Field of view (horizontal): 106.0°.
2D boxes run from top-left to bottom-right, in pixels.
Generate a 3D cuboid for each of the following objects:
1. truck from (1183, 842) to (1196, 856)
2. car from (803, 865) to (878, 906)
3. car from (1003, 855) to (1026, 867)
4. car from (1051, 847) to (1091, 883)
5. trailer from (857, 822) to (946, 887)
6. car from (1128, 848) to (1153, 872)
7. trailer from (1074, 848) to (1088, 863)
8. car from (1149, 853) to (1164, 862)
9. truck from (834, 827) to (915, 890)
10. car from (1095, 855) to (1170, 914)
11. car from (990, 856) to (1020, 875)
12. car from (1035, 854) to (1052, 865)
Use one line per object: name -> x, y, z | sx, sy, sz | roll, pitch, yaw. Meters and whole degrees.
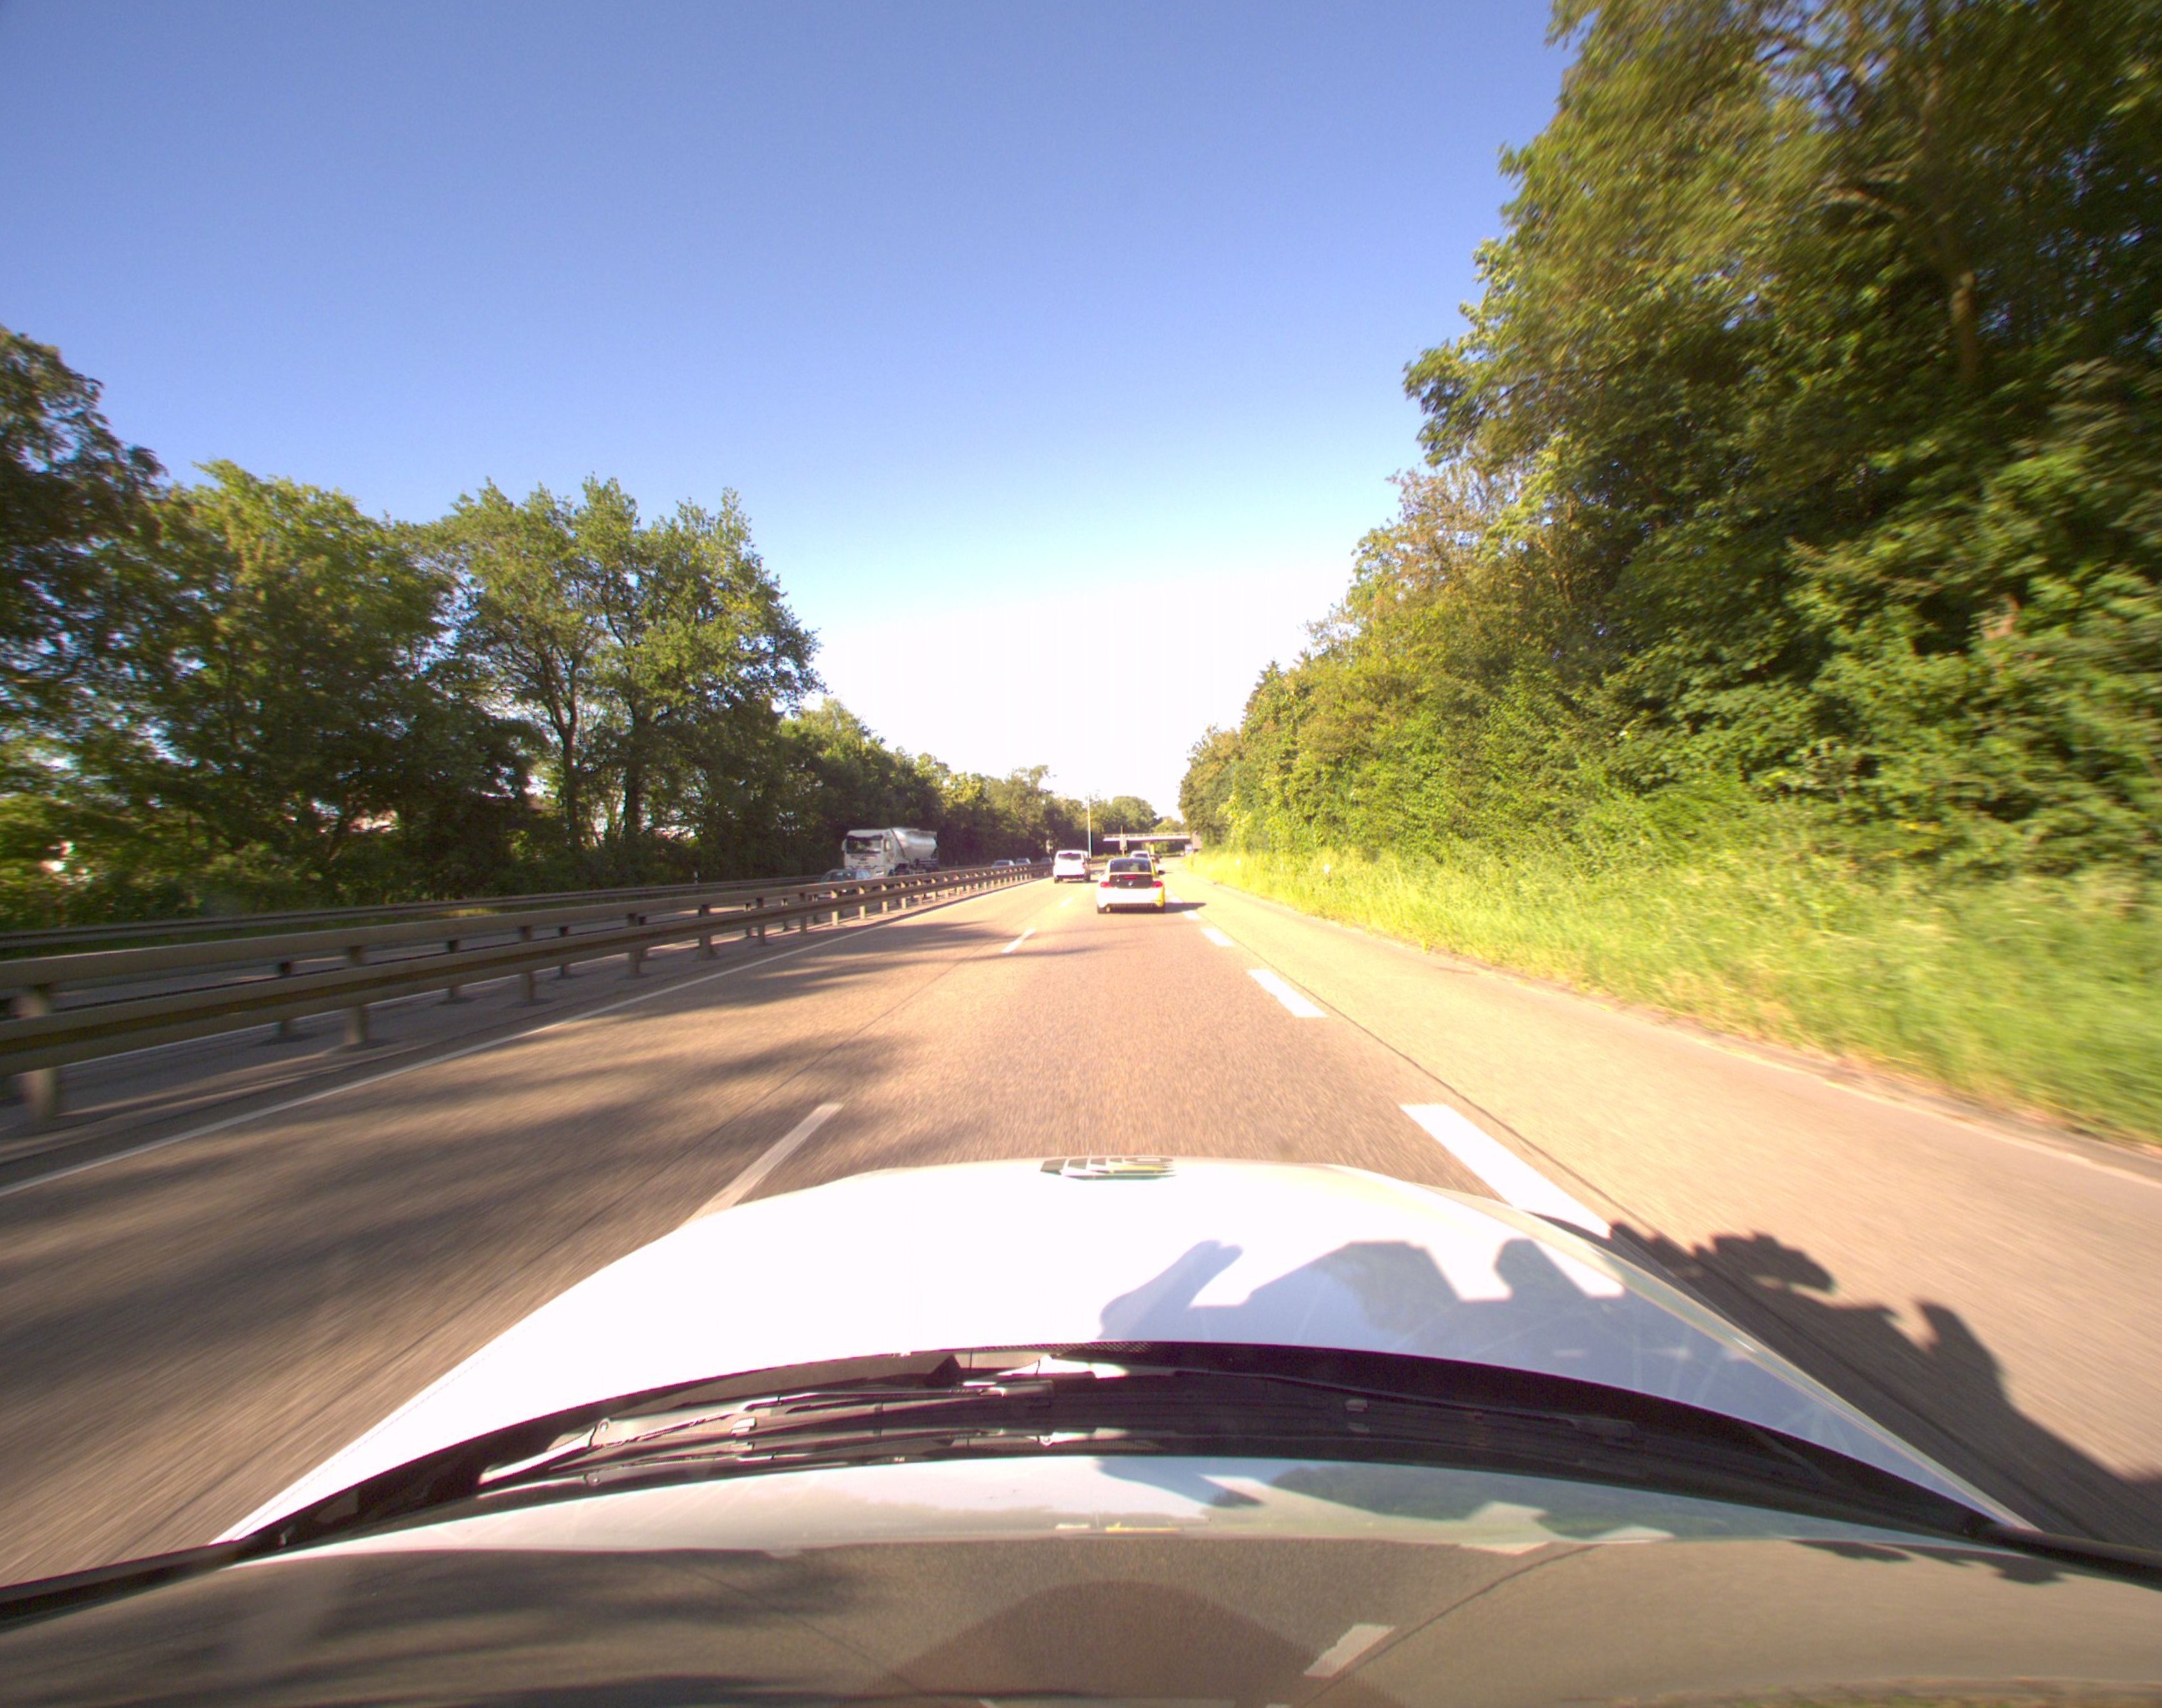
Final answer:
truck -> 34.847, -1.639, 260.686 | 3.473, 4.172, 8.889 | -2, 0, 11
car -> -9.726, 1.243, 33.267 | 1.660, 1.467, 4.094 | -2, 0, 2
car -> -8.151, 0.841, 100.352 | 2.062, 1.467, 4.991 | -1, 0, 4
car -> -0.507, 0.589, 45.659 | 2.078, 1.828, 4.000 | -2, 0, 1
trailer -> -12.404, 0.019, 57.519 | 3.039, 3.997, 10.984 | -2, 0, 4
car -> 4.781, 0.484, 64.761 | 1.855, 1.770, 4.476 | -2, 0, 5
trailer -> 0.016, 0.222, 134.782 | 1.985, 2.437, 4.610 | -2, 0, 3
car -> 11.930, 0.544, 128.948 | 1.981, 1.398, 4.013 | -1, 0, 11
truck -> -12.826, 0.244, 51.208 | 2.967, 3.630, 6.163 | -2, 0, 4
car -> 1.349, 0.773, 22.722 | 1.873, 1.461, 4.356 | 0, 0, 1
car -> -6.686, 0.997, 72.135 | 1.789, 1.467, 4.704 | -2, 0, 6
car -> -5.652, 0.847, 124.059 | 2.062, 1.614, 5.064 | -1, 0, 4
